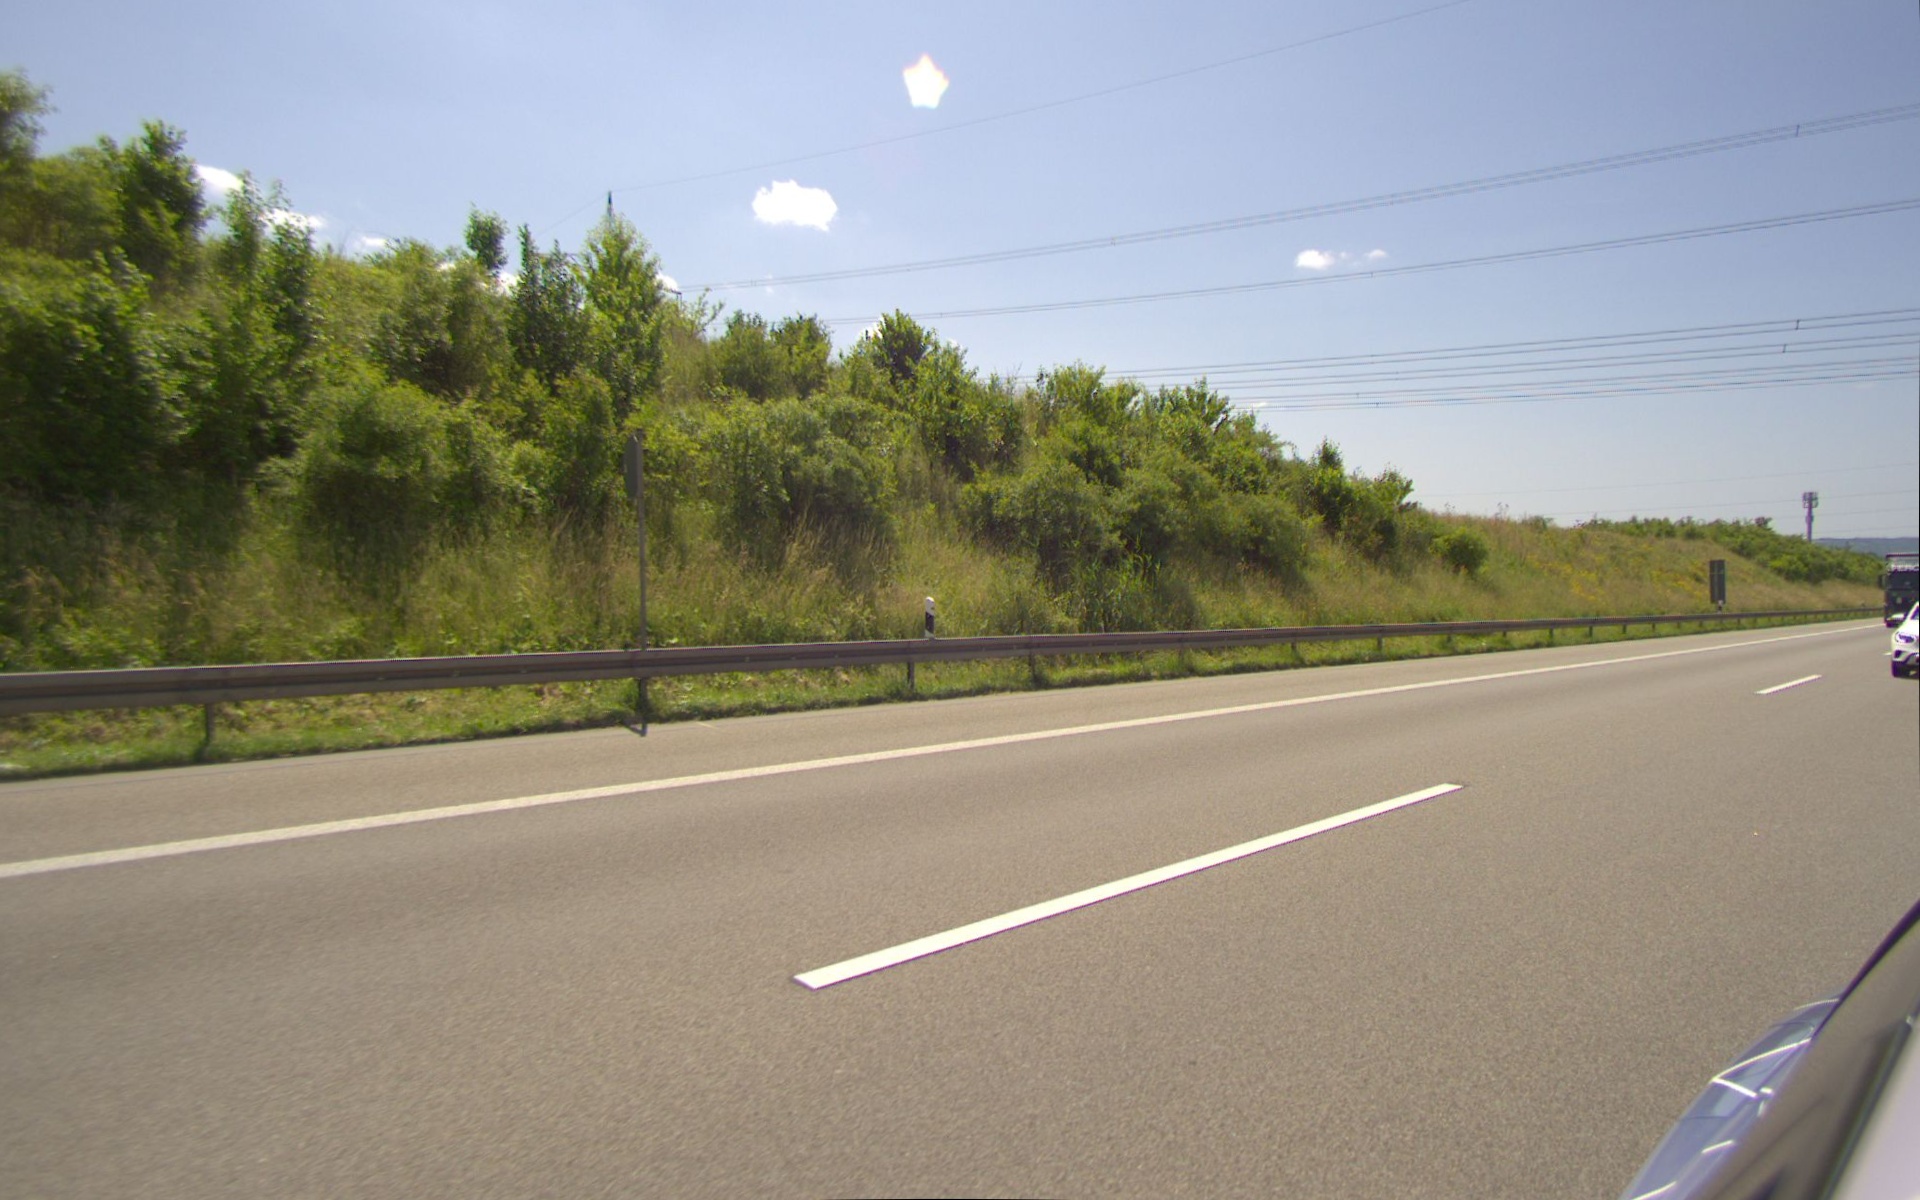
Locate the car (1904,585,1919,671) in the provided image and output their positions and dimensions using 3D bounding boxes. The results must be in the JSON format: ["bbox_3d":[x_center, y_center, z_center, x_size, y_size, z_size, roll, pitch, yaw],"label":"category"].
[{"bbox_3d":[20.501,0.504,20.285,5.142,1.600,1.917,-1,1,-42],"label":"car"}]

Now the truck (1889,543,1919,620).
[{"bbox_3d":[53.159,-1.011,55.375,6.670,4.071,2.757,-1,1,-41],"label":"truck"}]

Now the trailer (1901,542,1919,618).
[{"bbox_3d":[58.443,-1.188,60.059,11.604,4.207,2.729,-1,1,-42],"label":"trailer"}]
